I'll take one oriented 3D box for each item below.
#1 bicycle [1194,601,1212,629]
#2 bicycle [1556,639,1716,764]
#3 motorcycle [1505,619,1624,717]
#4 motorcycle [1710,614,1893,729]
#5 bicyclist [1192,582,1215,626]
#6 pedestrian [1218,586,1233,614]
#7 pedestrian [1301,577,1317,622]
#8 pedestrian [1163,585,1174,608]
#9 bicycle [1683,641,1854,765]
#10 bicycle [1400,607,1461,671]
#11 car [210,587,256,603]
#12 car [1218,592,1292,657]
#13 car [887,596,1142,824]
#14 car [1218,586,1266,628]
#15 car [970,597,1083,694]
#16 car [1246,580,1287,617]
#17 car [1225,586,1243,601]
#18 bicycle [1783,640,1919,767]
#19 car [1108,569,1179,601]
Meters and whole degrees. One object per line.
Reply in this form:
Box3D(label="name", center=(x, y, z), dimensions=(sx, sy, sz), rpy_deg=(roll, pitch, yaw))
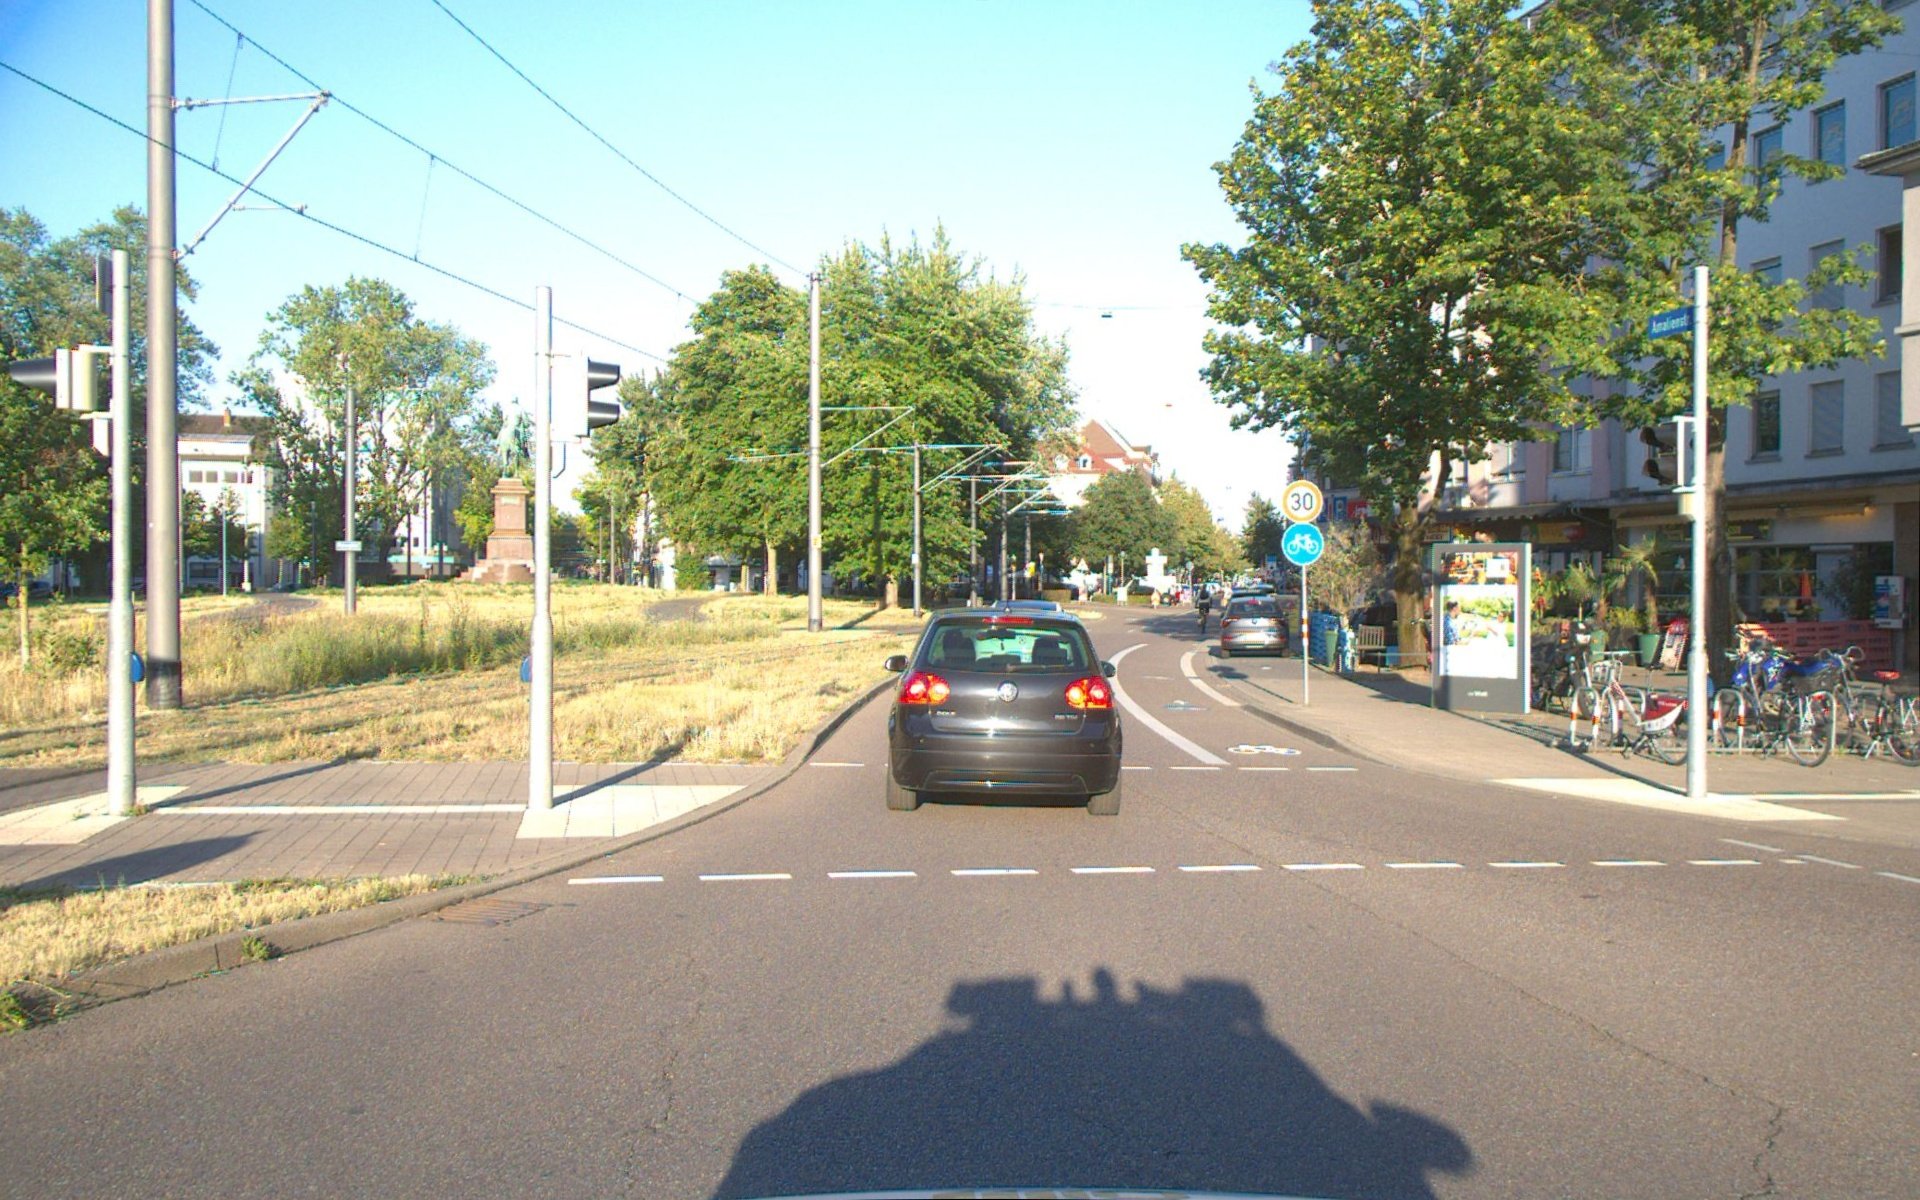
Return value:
Box3D(label="bicycle", center=(9.214, 0.559, 62.685), dimensions=(0.566, 1.004, 1.937), rpy_deg=(1, 0, 10))
Box3D(label="bicycle", center=(7.067, 1.032, 17.401), dimensions=(0.633, 1.146, 1.869), rpy_deg=(0, 2, -11))
Box3D(label="motorcycle", center=(8.448, 0.922, 23.212), dimensions=(0.653, 1.264, 2.198), rpy_deg=(0, 1, -6))
Box3D(label="motorcycle", center=(10.812, 0.906, 21.278), dimensions=(2.004, 1.431, 0.760), rpy_deg=(0, 1, -5))
Box3D(label="bicyclist", center=(9.224, 0.147, 62.658), dimensions=(0.760, 1.646, 1.026), rpy_deg=(1, 0, 10))
Box3D(label="pedestrian", center=(16.772, -0.024, 104.660), dimensions=(0.841, 1.736, 0.942), rpy_deg=(1, 0, 5))
Box3D(label="pedestrian", center=(15.072, -0.012, 71.427), dimensions=(0.609, 1.890, 0.662), rpy_deg=(-2, 0, 12))
Box3D(label="pedestrian", center=(14.845, -0.243, 117.872), dimensions=(0.720, 1.582, 0.632), rpy_deg=(1, 0, 7))
Box3D(label="bicycle", center=(8.601, 1.068, 17.690), dimensions=(0.633, 1.146, 1.869), rpy_deg=(0, 2, -11))
Box3D(label="bicycle", center=(9.316, 0.762, 32.822), dimensions=(0.413, 1.178, 1.751), rpy_deg=(0, 2, -11))
Box3D(label="car", center=(-61.256, -0.422, 139.396), dimensions=(3.284, 1.385, 1.513), rpy_deg=(0, 1, -16))
Box3D(label="car", center=(7.407, 0.576, 41.593), dimensions=(1.691, 1.498, 3.902), rpy_deg=(-2, 0, 10))
Box3D(label="car", center=(0.339, 0.745, 13.251), dimensions=(1.712, 1.486, 4.102), rpy_deg=(1, 1, -1))
Box3D(label="car", center=(11.427, 0.248, 66.821), dimensions=(1.744, 1.584, 4.238), rpy_deg=(-2, 0, 11))
Box3D(label="car", center=(1.199, 0.733, 28.792), dimensions=(1.826, 1.466, 4.199), rpy_deg=(0, 1, 3))
Box3D(label="car", center=(15.339, -0.111, 82.940), dimensions=(1.827, 1.743, 4.509), rpy_deg=(-2, 0, 9))
Box3D(label="car", center=(29.921, -0.765, 180.614), dimensions=(1.866, 1.579, 4.004), rpy_deg=(0, 1, 10))
Box3D(label="bicycle", center=(9.885, 1.081, 17.851), dimensions=(0.633, 1.178, 2.119), rpy_deg=(0, 2, -11))
Box3D(label="car", center=(15.257, -1.246, 137.561), dimensions=(5.421, 2.640, 2.146), rpy_deg=(1, 0, -16))
